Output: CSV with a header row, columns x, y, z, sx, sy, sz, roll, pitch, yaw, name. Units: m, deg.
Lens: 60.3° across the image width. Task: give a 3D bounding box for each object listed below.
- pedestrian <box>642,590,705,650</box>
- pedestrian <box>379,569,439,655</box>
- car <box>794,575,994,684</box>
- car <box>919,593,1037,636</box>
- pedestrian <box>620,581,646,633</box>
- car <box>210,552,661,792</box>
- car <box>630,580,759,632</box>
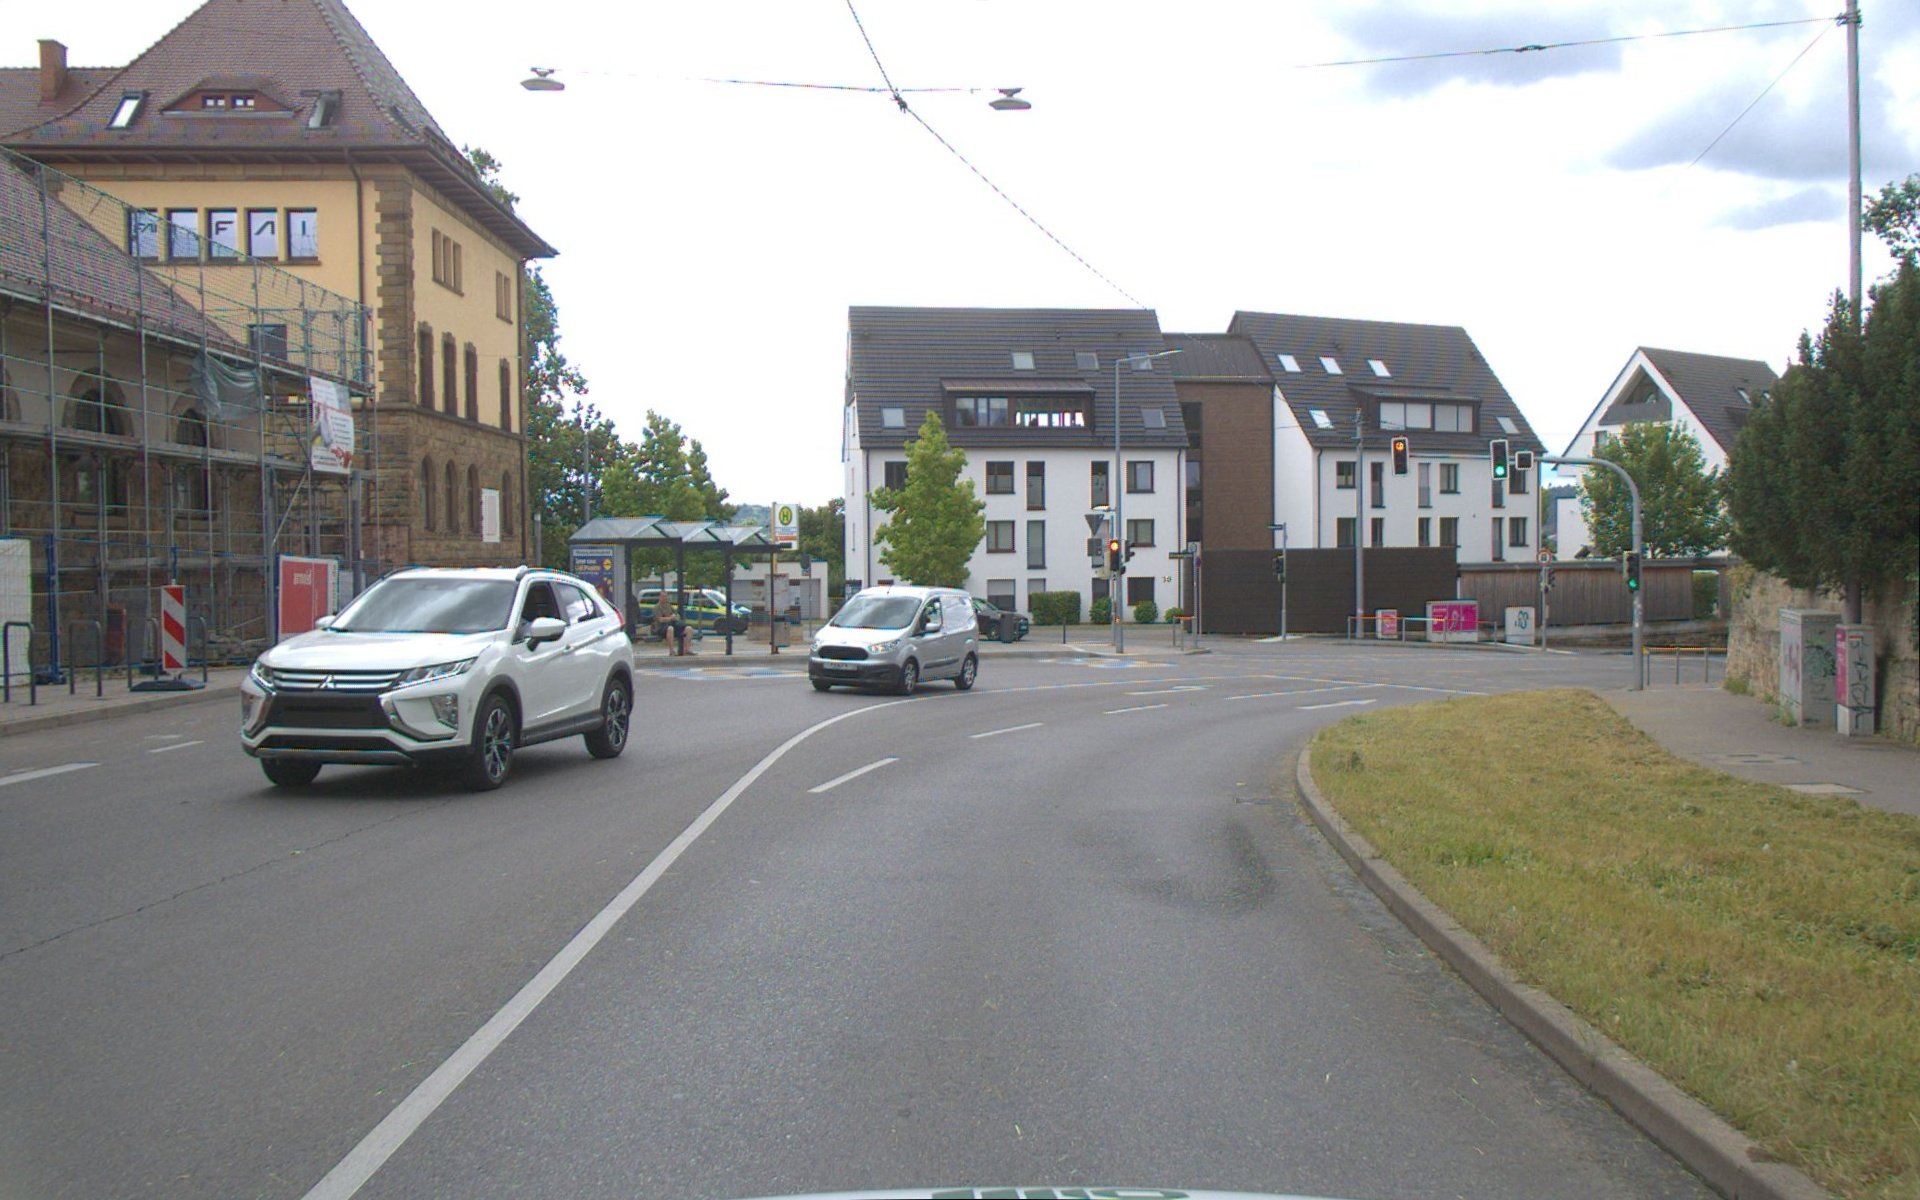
x,y,z,sx,sy,sz,roll,pitch,yaw,name
-6.003,0.420,34.664,0.914,1.213,0.904,1,-1,27,pedestrian
-11.437,0.253,34.339,0.904,1.750,0.799,1,-1,1,pedestrian
-1.001,0.478,27.525,1.658,1.642,4.081,1,-1,24,car
0.690,0.578,64.360,4.181,1.539,1.995,1,-1,31,car
-10.195,0.218,51.625,0.526,1.605,0.654,1,0,14,pedestrian
-4.049,0.496,13.665,1.753,1.639,4.512,0,0,8,car
-11.181,0.254,69.935,4.967,2.049,2.001,2,-1,7,car
